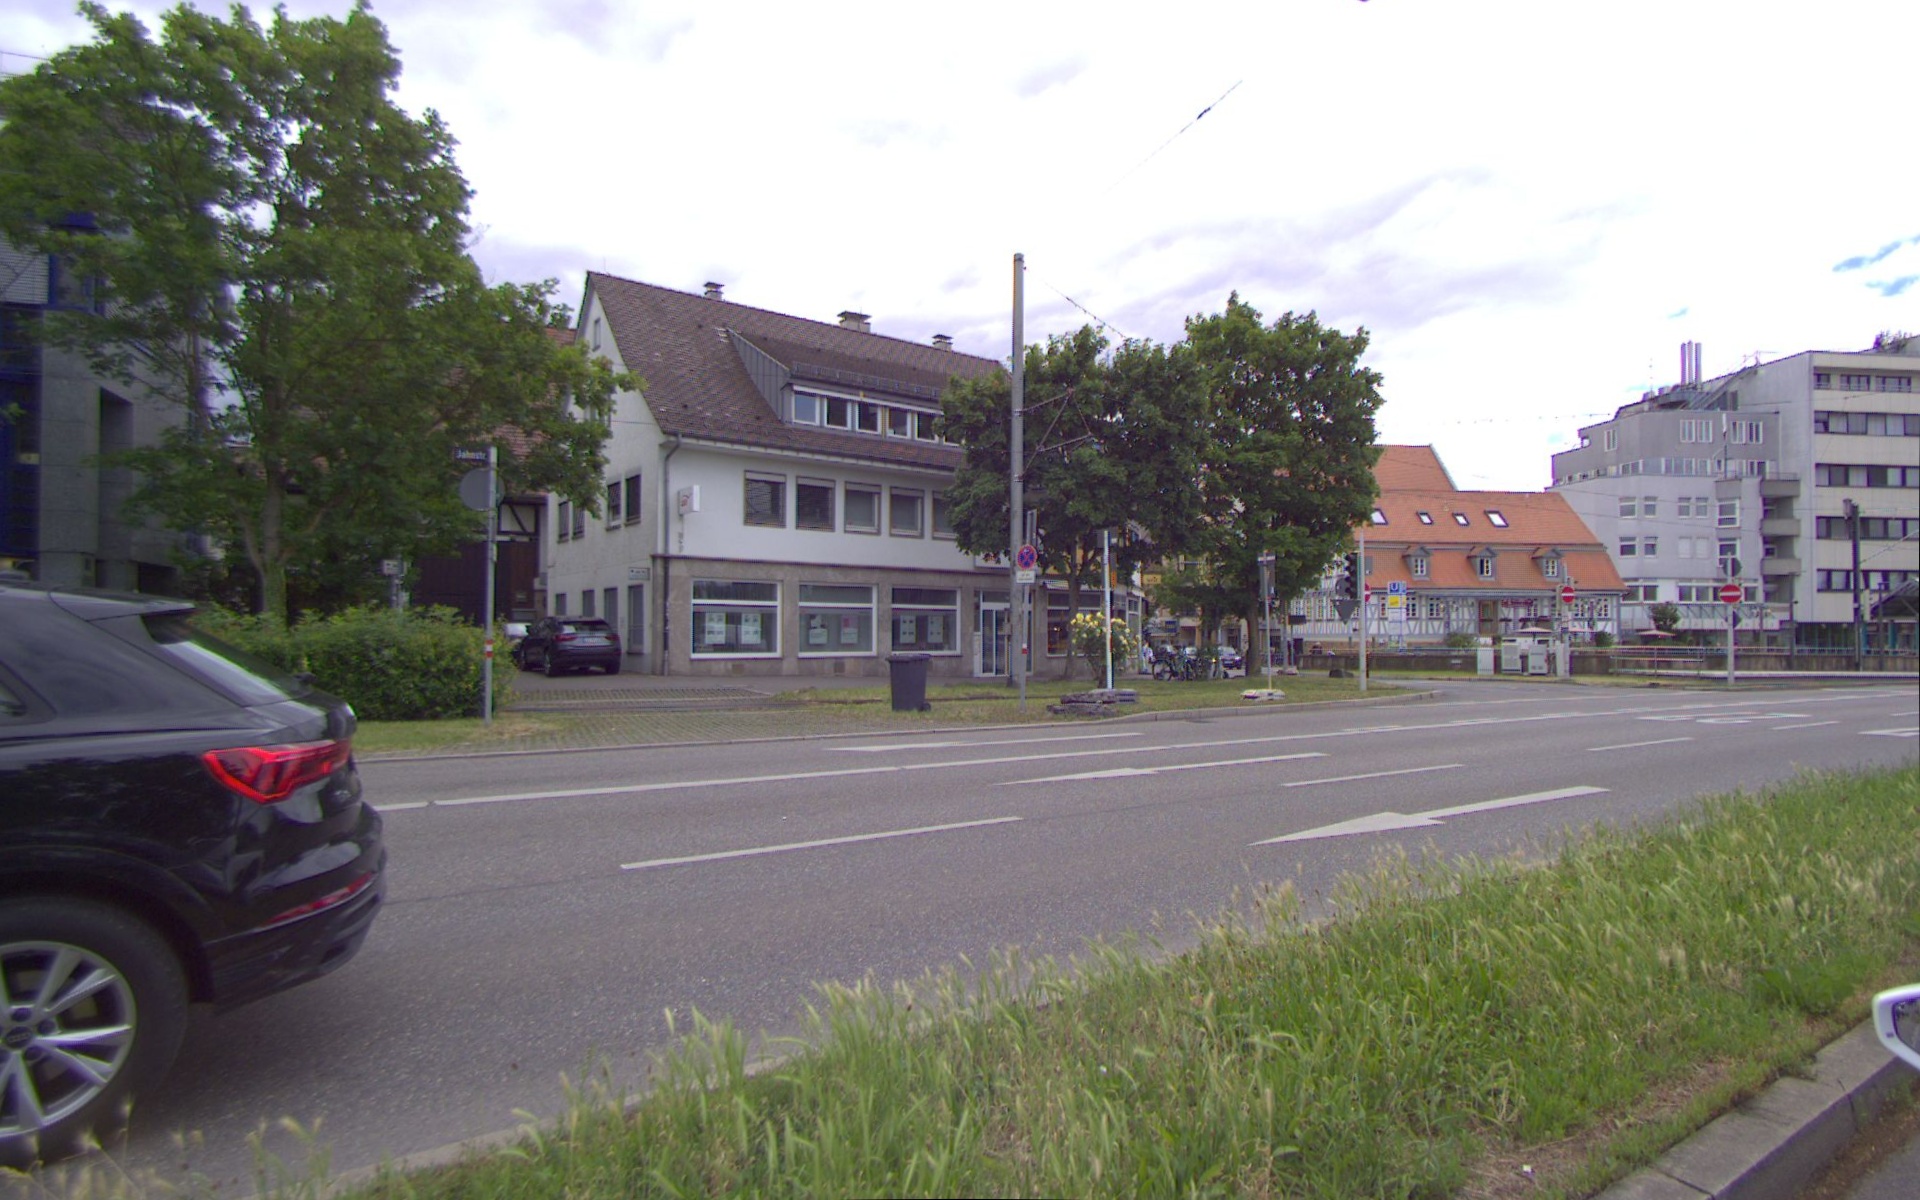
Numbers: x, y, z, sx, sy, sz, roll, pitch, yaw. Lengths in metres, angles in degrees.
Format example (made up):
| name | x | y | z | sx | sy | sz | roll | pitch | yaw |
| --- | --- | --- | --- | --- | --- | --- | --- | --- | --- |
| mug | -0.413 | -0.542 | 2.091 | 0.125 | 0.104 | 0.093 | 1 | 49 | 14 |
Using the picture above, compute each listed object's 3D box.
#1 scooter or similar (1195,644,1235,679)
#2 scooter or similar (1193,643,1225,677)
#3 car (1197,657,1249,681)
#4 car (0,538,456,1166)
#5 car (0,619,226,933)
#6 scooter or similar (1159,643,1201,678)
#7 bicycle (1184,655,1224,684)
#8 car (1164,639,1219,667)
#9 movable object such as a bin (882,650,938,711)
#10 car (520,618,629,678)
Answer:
| name | x | y | z | sx | sy | sz | roll | pitch | yaw |
| --- | --- | --- | --- | --- | --- | --- | --- | --- | --- |
| scooter or similar | 7.922 | 1.907 | 31.211 | 1.158 | 1.059 | 0.489 | 1 | -2 | -19 |
| scooter or similar | 8.098 | 1.939 | 32.623 | 0.979 | 1.100 | 0.421 | 2 | -2 | -27 |
| car | 15.760 | 4.104 | 60.395 | 1.948 | 1.312 | 3.910 | 1 | -2 | -3 |
| car | -3.874 | 0.632 | 2.661 | 4.351 | 1.585 | 1.876 | 0 | 0 | -35 |
| car | -6.200 | 0.841 | 4.690 | 4.348 | 1.445 | 1.773 | 0 | 0 | -33 |
| scooter or similar | 7.001 | 1.914 | 31.992 | 1.159 | 1.100 | 0.650 | 1 | -2 | -23 |
| bicycle | 7.186 | 2.036 | 29.592 | 0.419 | 0.815 | 1.253 | 2 | -2 | -29 |
| car | 12.475 | 2.826 | 54.341 | 1.791 | 1.399 | 4.683 | 1 | -2 | -1 |
| movable object such as a bin | -0.888 | 1.412 | 17.802 | 0.829 | 1.026 | 0.561 | 1 | -1 | -32 |
| car | -10.534 | 1.238 | 27.295 | 1.841 | 1.445 | 3.961 | 0 | 0 | -36 |
